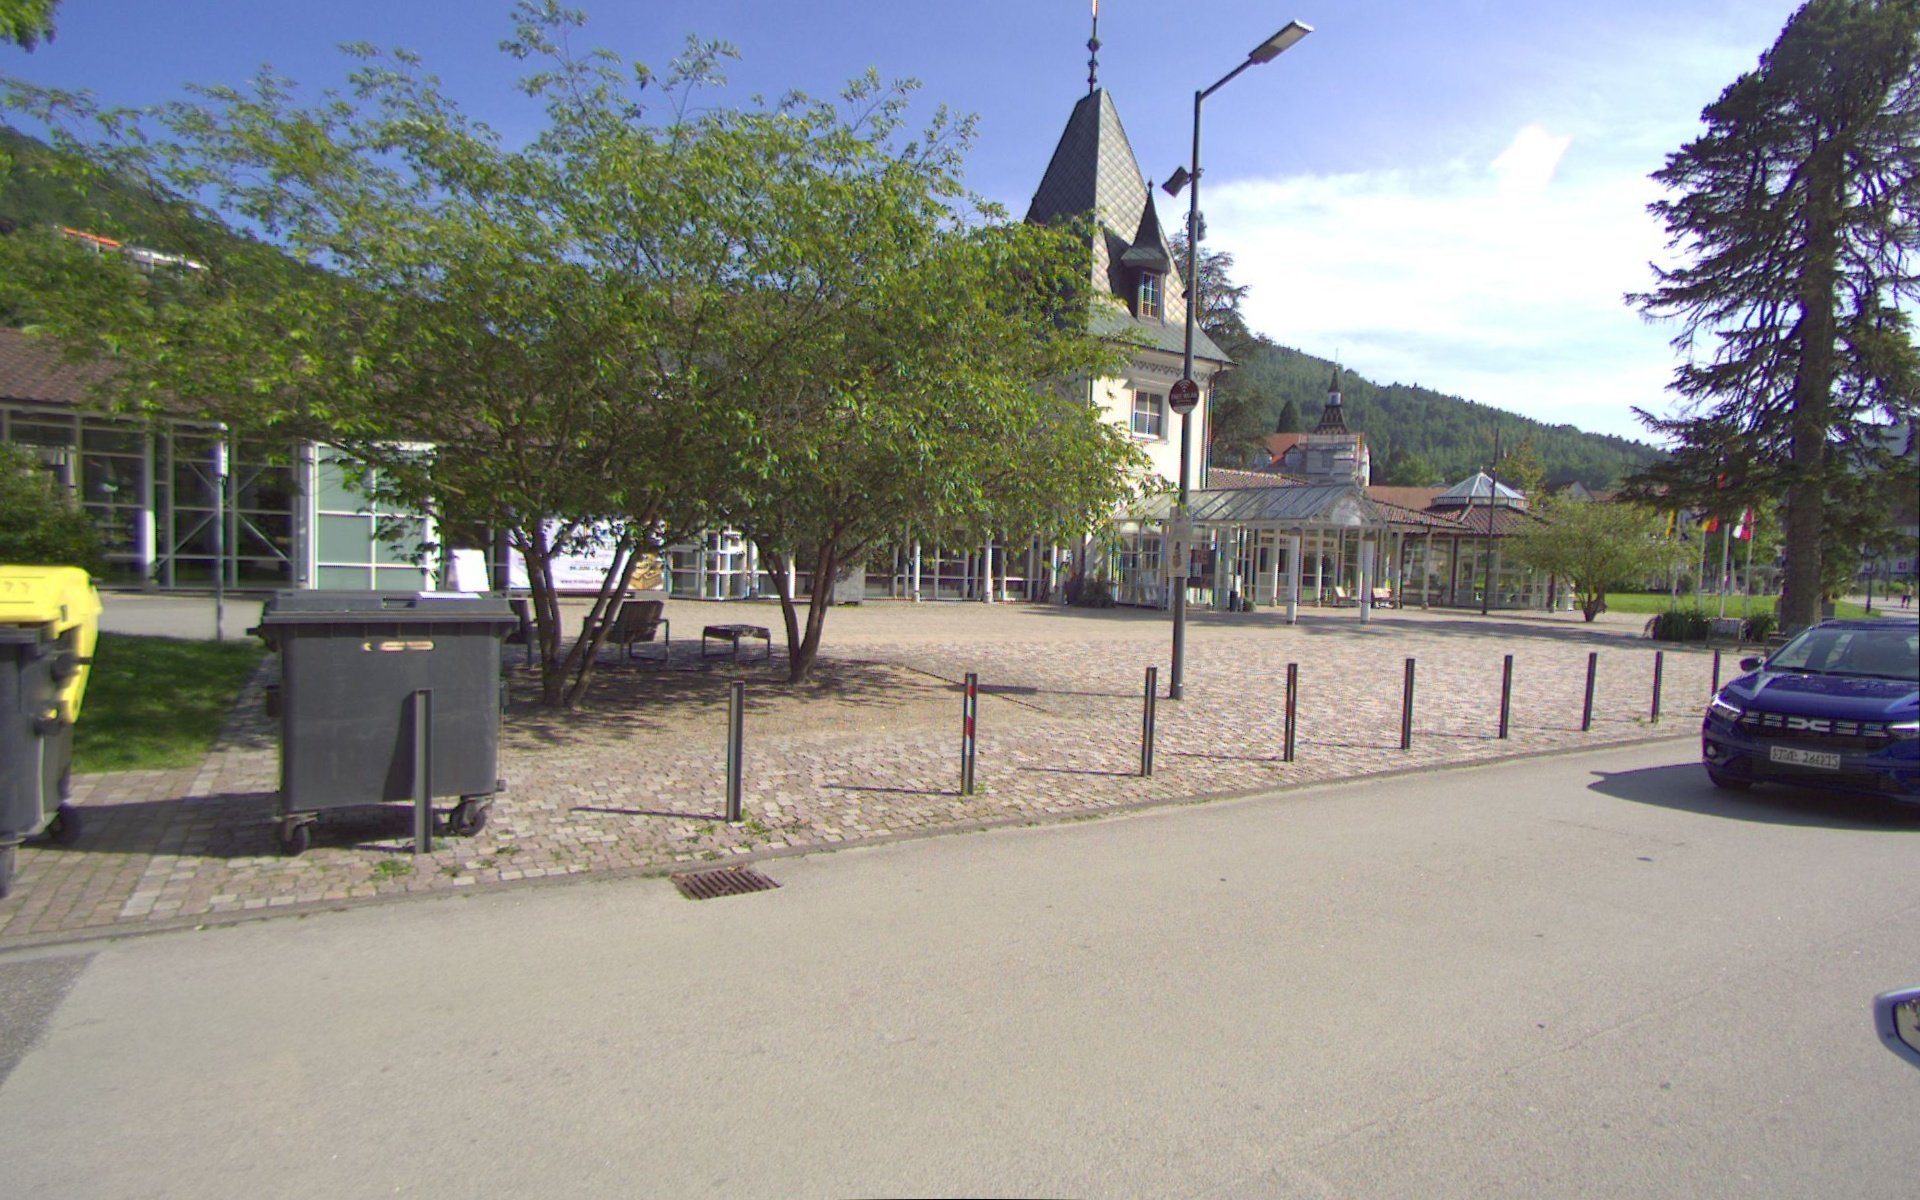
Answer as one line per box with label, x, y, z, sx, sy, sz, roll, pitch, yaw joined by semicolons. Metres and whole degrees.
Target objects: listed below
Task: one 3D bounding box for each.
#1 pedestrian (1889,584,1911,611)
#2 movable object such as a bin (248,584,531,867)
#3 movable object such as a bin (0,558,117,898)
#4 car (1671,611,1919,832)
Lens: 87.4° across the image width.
pedestrian;65.719;-0.192;70.252;0.854;1.839;0.689;4;4;31
movable object such as a bin;-3.149;0.628;5.607;1.280;1.360;0.751;1;5;-31
movable object such as a bin;-4.890;0.550;4.634;1.361;1.447;1.073;1;5;-31
car;8.046;0.877;8.617;4.141;1.482;1.731;1;1;-33
